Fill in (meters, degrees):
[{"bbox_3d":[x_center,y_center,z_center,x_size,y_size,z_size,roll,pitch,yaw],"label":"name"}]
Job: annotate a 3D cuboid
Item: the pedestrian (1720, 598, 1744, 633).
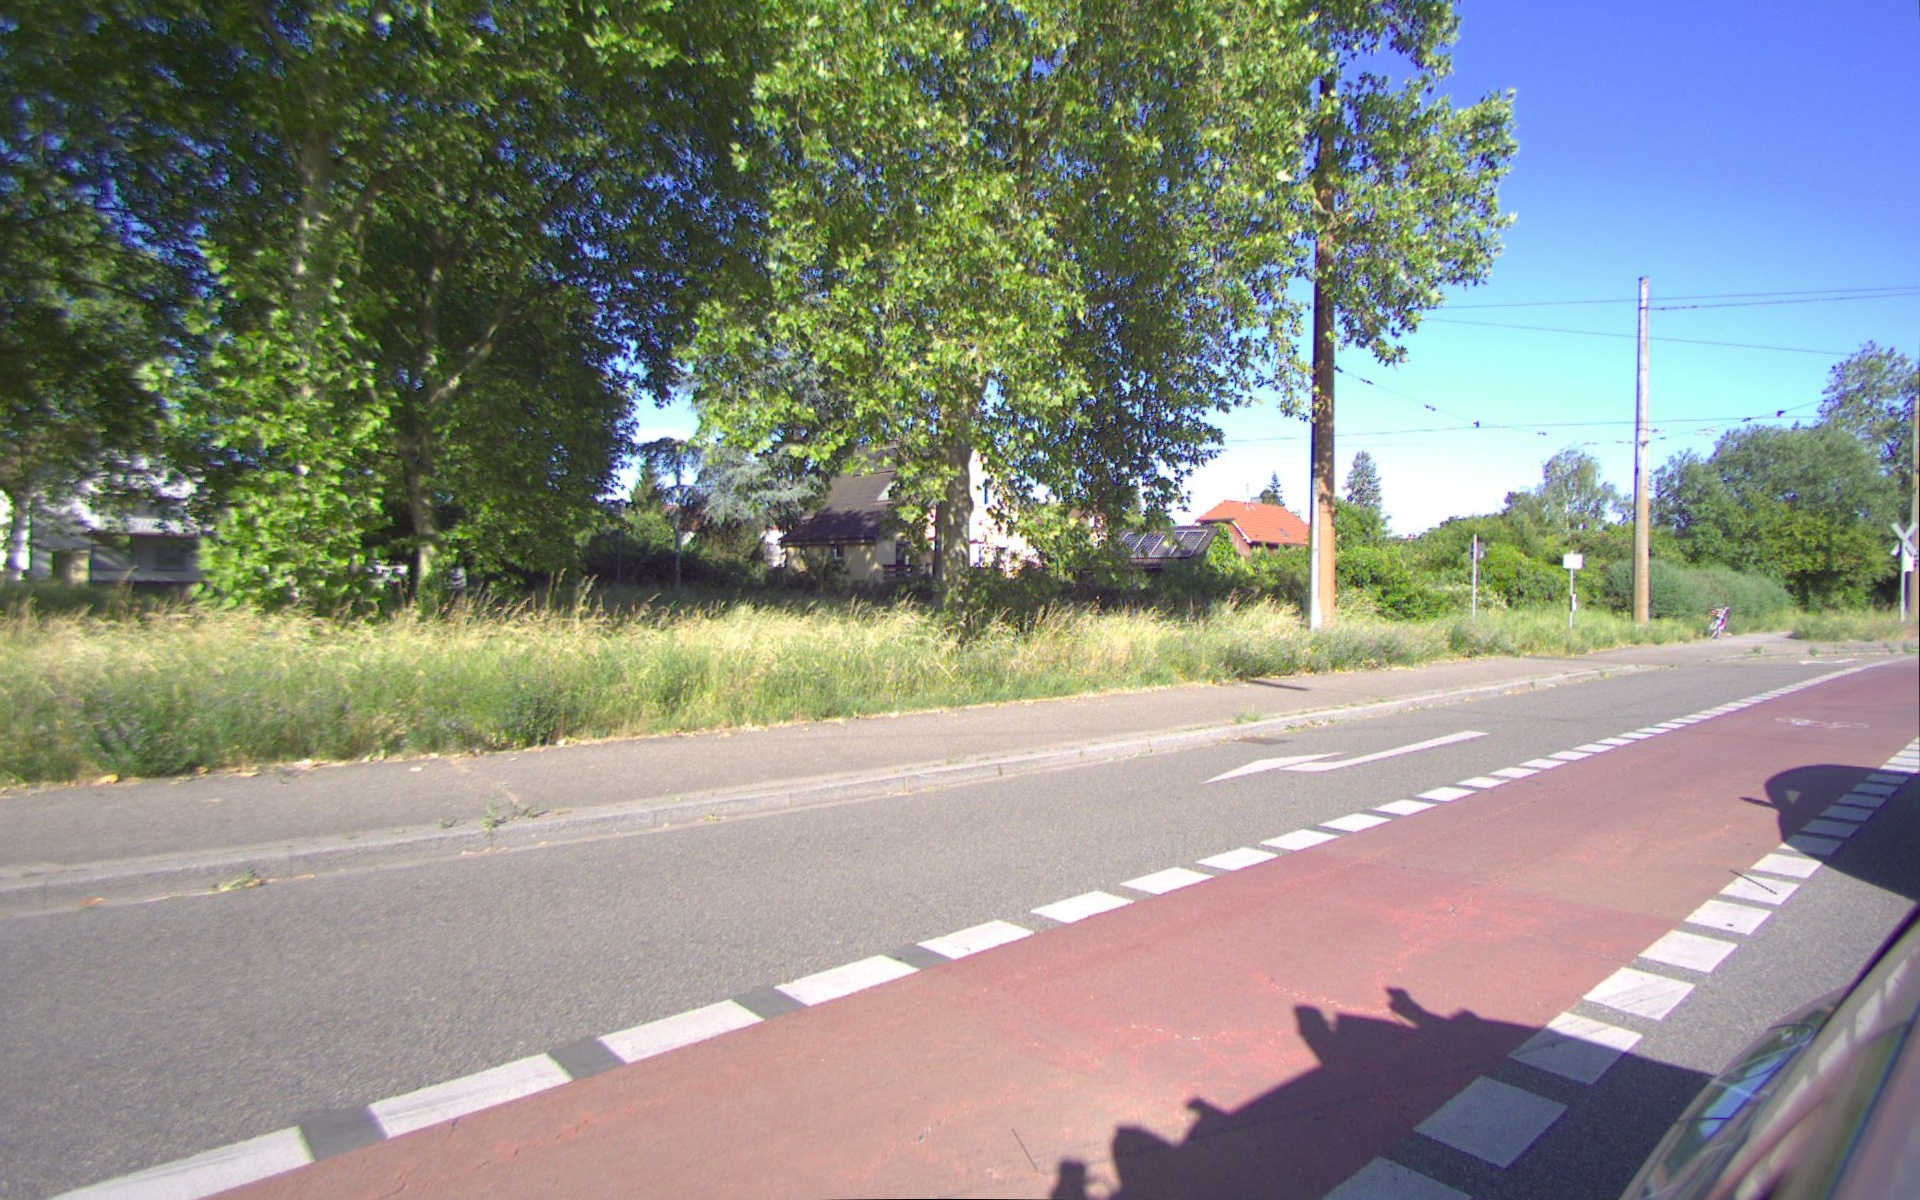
[{"bbox_3d":[23.753,0.480,31.136,0.446,1.046,0.482,1,1,-41],"label":"pedestrian"}]
